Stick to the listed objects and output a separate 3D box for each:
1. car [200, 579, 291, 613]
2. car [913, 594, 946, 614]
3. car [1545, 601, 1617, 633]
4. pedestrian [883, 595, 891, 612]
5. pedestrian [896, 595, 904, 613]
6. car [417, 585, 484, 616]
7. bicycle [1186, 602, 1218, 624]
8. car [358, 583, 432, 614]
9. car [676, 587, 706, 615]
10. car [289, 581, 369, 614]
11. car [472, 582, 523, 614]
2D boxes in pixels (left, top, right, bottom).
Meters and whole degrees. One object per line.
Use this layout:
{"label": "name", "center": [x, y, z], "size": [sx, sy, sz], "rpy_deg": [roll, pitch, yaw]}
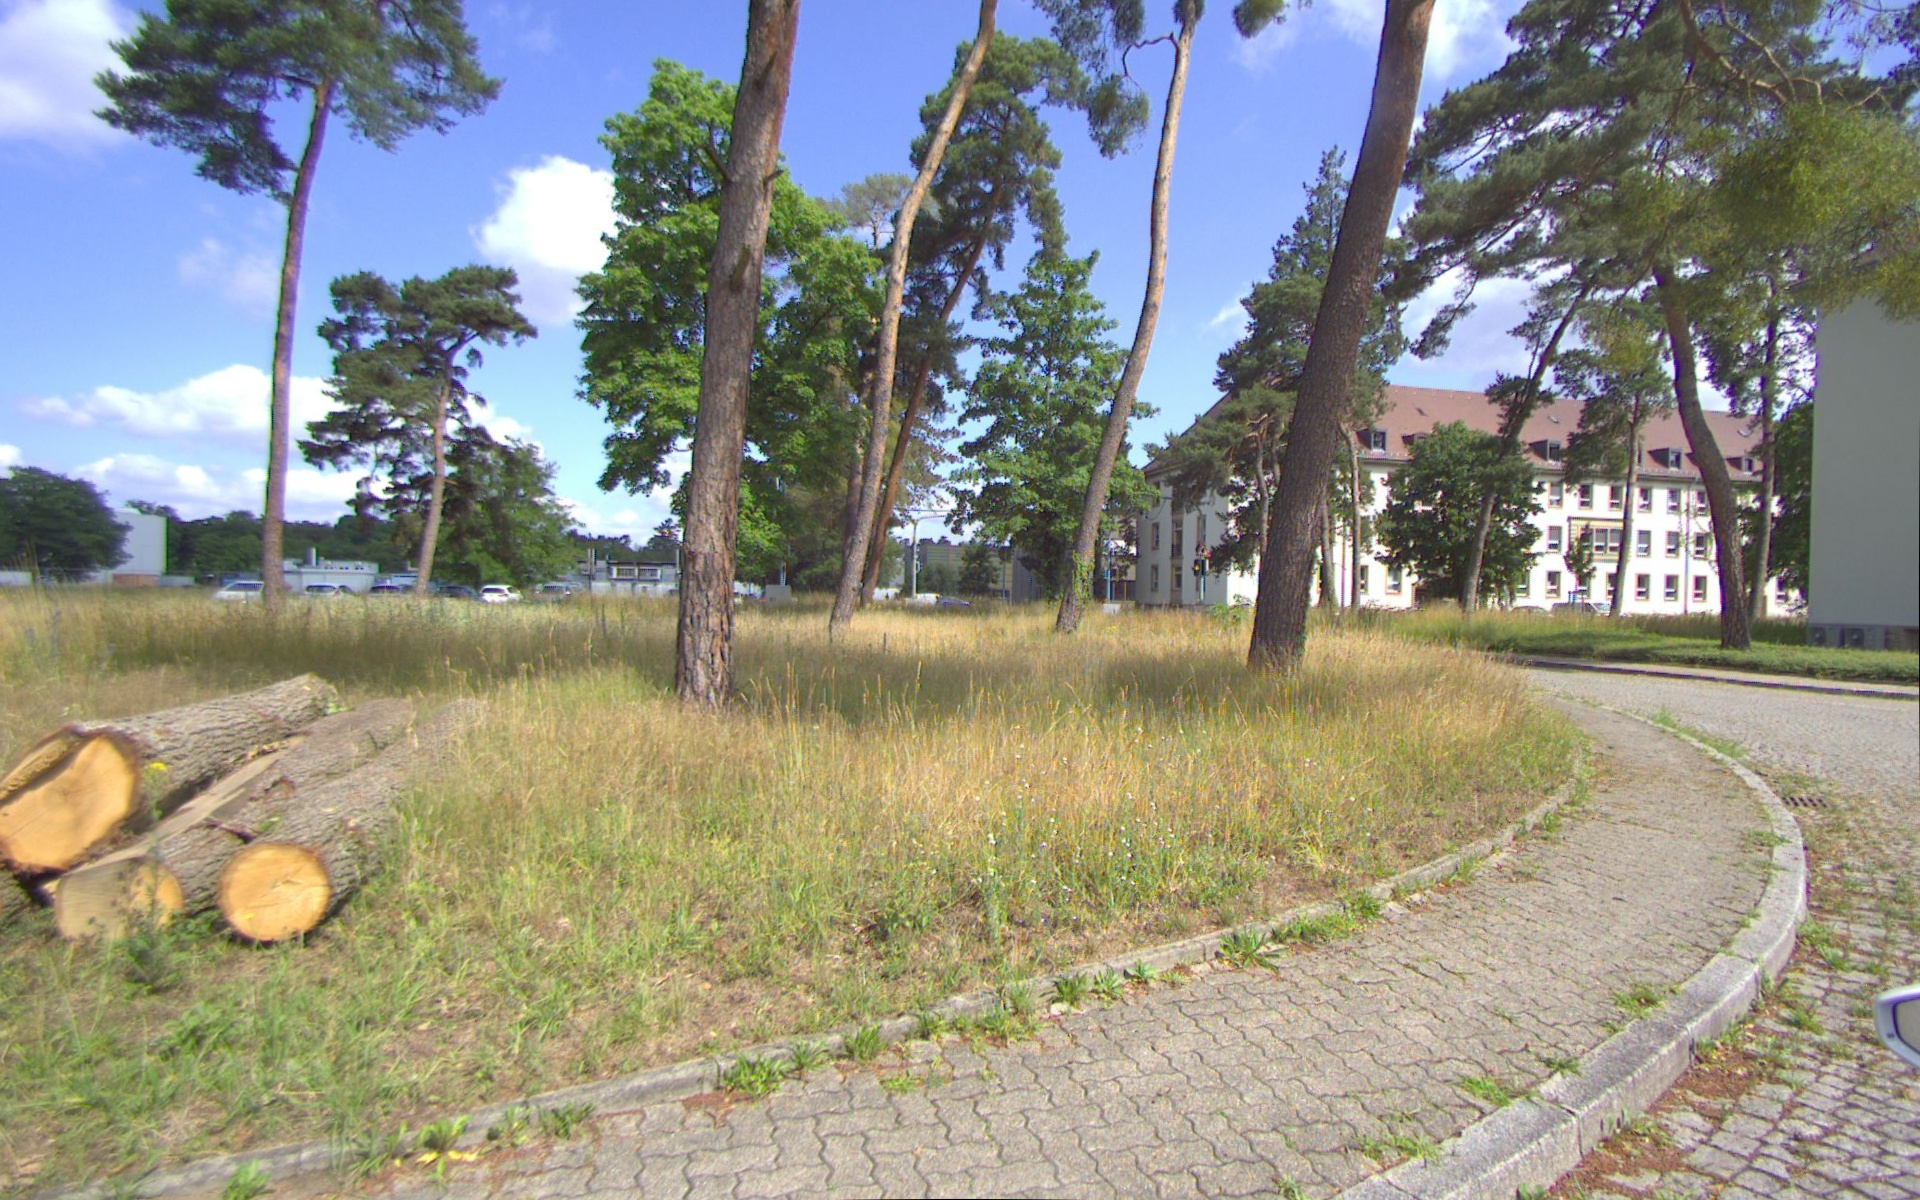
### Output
{"label": "car", "center": [-30.871, -0.158, 43.532], "size": [1.869, 1.367, 4.059], "rpy_deg": [1, 0, -15]}
{"label": "car", "center": [-3.480, 0.468, 114.575], "size": [3.621, 2.116, 1.729], "rpy_deg": [1, 0, -5]}
{"label": "car", "center": [41.127, 1.105, 66.612], "size": [1.683, 2.018, 4.062], "rpy_deg": [1, 0, -13]}
{"label": "pedestrian", "center": [-8.715, 0.455, 119.899], "size": [0.950, 2.040, 1.053], "rpy_deg": [1, 0, -6]}
{"label": "pedestrian", "center": [-7.203, 0.483, 120.157], "size": [0.950, 2.040, 1.053], "rpy_deg": [1, 0, -6]}
{"label": "car", "center": [-22.957, 0.034, 45.401], "size": [1.869, 1.327, 4.067], "rpy_deg": [1, 0, -15]}
{"label": "bicycle", "center": [12.661, 0.662, 52.571], "size": [1.555, 1.115, 0.491], "rpy_deg": [1, 0, -3]}
{"label": "car", "center": [-25.285, -0.058, 45.076], "size": [1.869, 1.337, 4.067], "rpy_deg": [1, 0, -15]}
{"label": "car", "center": [-17.736, 0.078, 66.296], "size": [1.869, 1.804, 4.067], "rpy_deg": [1, 0, -15]}
{"label": "car", "center": [-28.072, -0.093, 44.819], "size": [1.869, 1.356, 4.067], "rpy_deg": [1, 0, -15]}
{"label": "car", "center": [-25.858, -0.099, 56.259], "size": [1.869, 1.725, 4.067], "rpy_deg": [1, 0, -15]}
